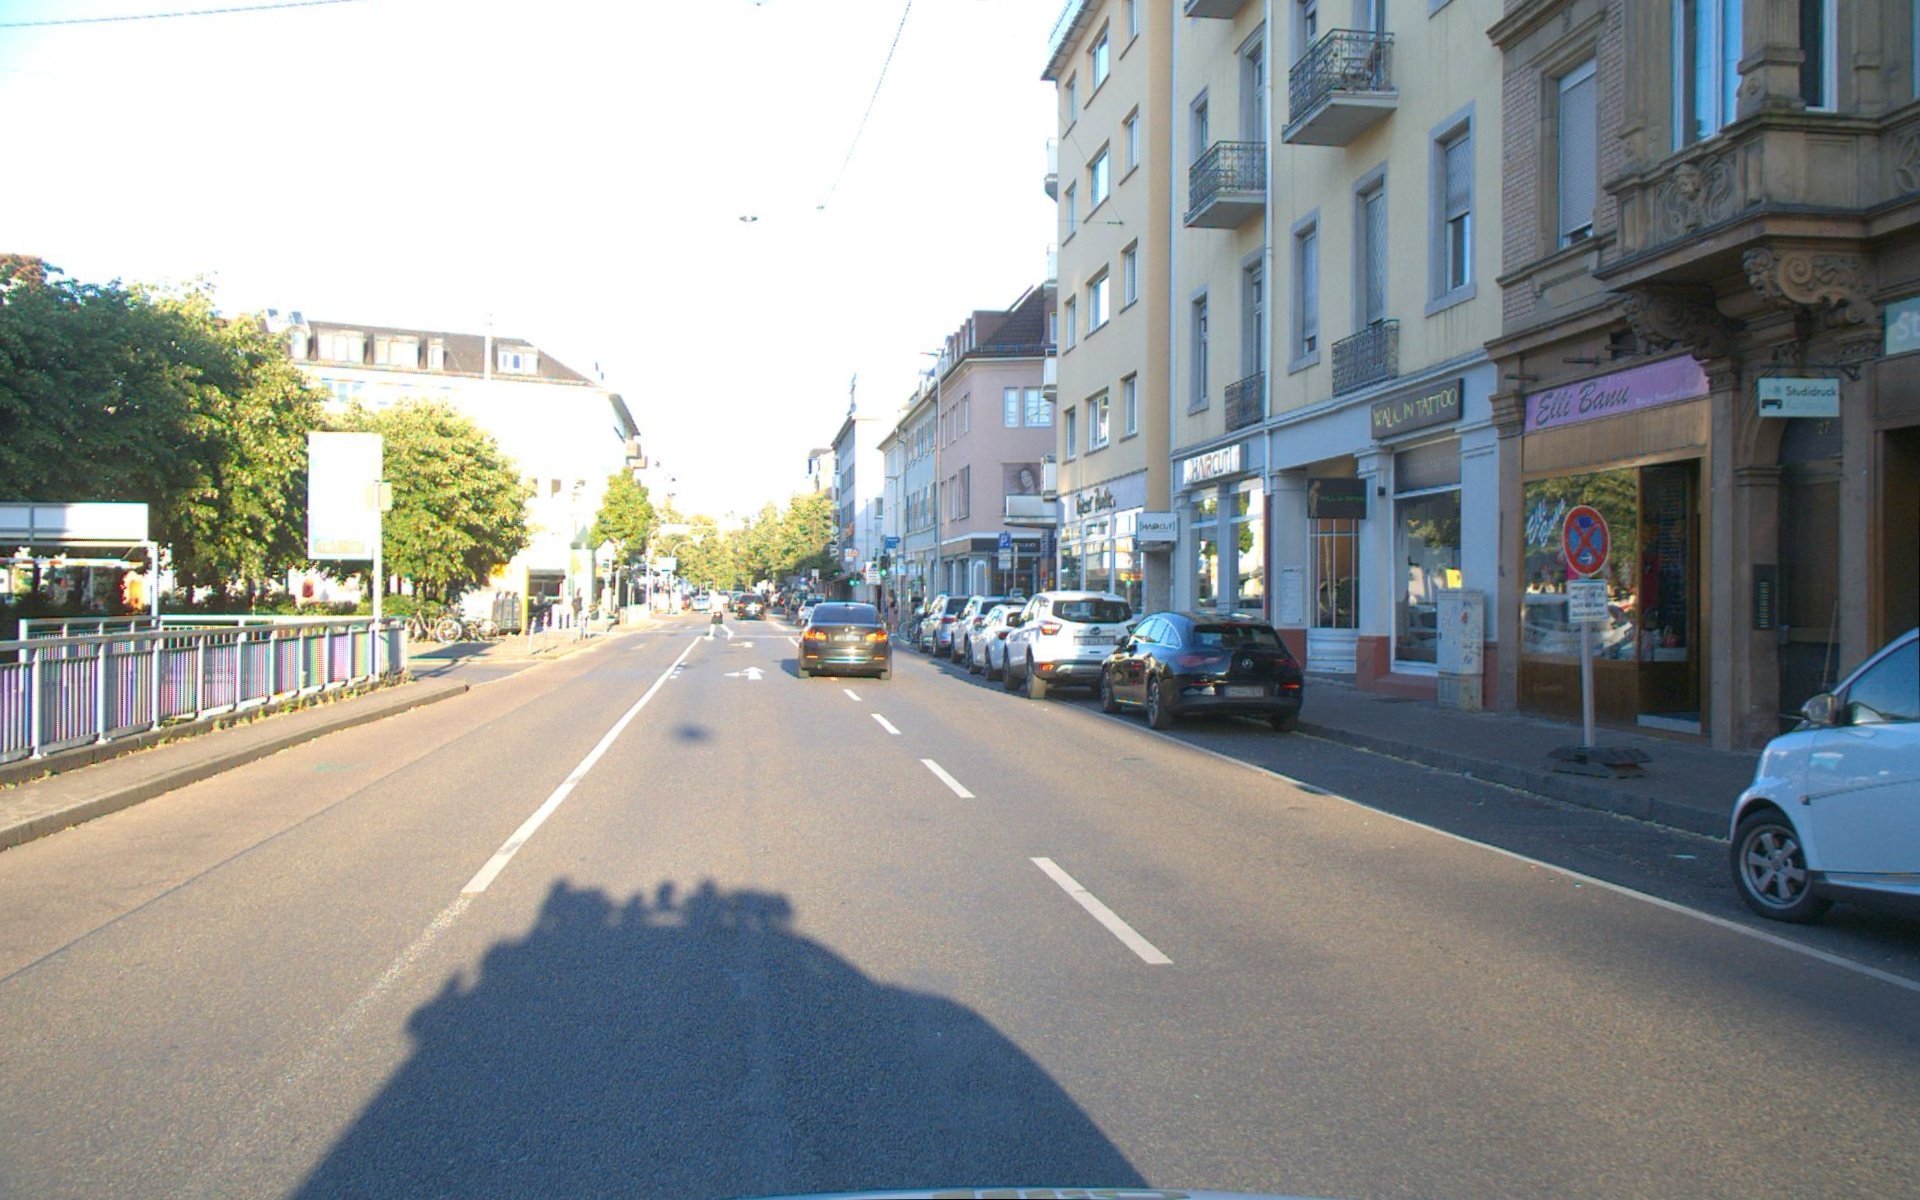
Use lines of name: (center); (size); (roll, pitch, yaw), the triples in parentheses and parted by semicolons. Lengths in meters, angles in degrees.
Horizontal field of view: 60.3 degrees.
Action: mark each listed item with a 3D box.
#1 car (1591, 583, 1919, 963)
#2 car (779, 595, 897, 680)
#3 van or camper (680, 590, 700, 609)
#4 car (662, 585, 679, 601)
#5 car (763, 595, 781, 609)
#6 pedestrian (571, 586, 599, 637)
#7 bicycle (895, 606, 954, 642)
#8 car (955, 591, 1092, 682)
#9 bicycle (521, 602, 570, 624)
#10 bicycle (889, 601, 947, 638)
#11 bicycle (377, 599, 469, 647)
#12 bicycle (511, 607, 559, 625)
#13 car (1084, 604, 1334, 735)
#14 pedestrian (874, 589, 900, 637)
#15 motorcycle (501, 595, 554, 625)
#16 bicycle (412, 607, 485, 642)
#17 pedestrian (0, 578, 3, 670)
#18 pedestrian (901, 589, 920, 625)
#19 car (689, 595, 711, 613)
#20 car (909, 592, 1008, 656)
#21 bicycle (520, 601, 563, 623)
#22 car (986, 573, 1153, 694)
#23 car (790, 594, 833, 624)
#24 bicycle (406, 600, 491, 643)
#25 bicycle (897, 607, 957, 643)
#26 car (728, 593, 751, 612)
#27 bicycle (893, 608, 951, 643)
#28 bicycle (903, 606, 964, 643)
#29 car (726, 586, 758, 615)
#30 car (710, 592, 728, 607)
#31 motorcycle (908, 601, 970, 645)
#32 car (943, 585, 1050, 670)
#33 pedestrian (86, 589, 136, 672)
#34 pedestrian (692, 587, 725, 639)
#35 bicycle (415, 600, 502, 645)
car: (4.923, 0.757, 8.190); (1.668, 1.612, 3.994); (0, 2, -7)
car: (-2.432, 0.670, 32.017); (1.854, 1.518, 4.194); (1, 0, -10)
van or camper: (-36.690, -0.049, 224.873); (2.429, 2.447, 3.989); (1, 0, -12)
car: (-37.374, -0.858, 213.531); (1.793, 2.049, 3.671); (1, 0, -6)
car: (-22.854, 0.188, 200.577); (1.860, 1.624, 3.990); (1, 0, -11)
pedestrian: (-13.130, 0.410, 57.843); (0.868, 1.750, 0.711); (1, 0, -19)
bicycle: (-1.154, 0.767, 53.567); (1.850, 1.132, 0.600); (1, 0, -11)
car: (1.181, 0.665, 33.154); (1.977, 1.570, 4.862); (0, 1, -7)
bicycle: (-22.135, 0.716, 88.397); (2.478, 1.166, 0.699); (0, 0, -11)
bicycle: (-1.384, 0.633, 54.495); (1.850, 1.188, 0.721); (0, 0, -12)
bicycle: (-15.508, 0.656, 47.798); (2.450, 1.306, 0.816); (1, 0, 13)
bicycle: (-21.471, 0.815, 83.662); (2.285, 0.935, 0.699); (0, 0, -11)
car: (3.075, 0.814, 21.552); (1.956, 1.459, 4.842); (1, 0, -8)
pedestrian: (-2.674, 0.466, 60.271); (0.781, 1.750, 0.809); (1, 0, -15)
motorcycle: (-21.051, 0.495, 80.542); (2.368, 1.451, 1.110); (0, 0, -9)
bicycle: (-15.637, 0.756, 50.583); (2.006, 0.988, 0.634); (3, 0, -10)
pedestrian: (-21.093, 0.506, 35.375); (0.785, 1.982, 0.731); (0, 0, 5)
pedestrian: (-2.482, 0.353, 83.291); (0.744, 1.808, 1.045); (1, 0, -12)
car: (-24.449, 0.388, 155.617); (1.858, 1.624, 3.995); (1, 0, -6)
car: (-0.114, 0.622, 44.886); (1.957, 1.641, 4.793); (0, 0, -9)
bicycle: (-22.674, 0.649, 89.544); (2.195, 1.155, 0.810); (0, 0, -11)
car: (1.704, 0.481, 27.399); (1.847, 1.775, 4.651); (0, 1, -8)
car: (-8.562, 0.492, 94.867); (2.290, 1.632, 3.887); (1, 0, -8)
bicycle: (-15.468, 0.642, 50.016); (2.386, 1.259, 0.461); (1, 0, -10)
bicycle: (-1.061, 0.799, 53.036); (1.850, 1.132, 0.520); (1, 0, -11)
car: (-18.857, 0.194, 141.585); (1.848, 1.512, 3.995); (1, 0, -6)
bicycle: (-1.272, 0.844, 55.327); (1.850, 1.132, 0.760); (1, 0, -12)
bicycle: (-0.843, 0.776, 52.228); (1.850, 1.132, 0.591); (1, -2, -11)
car: (-13.803, 0.004, 104.931); (1.956, 1.780, 3.993); (1, 0, -8)
car: (-29.176, -0.083, 200.139); (1.955, 1.780, 3.995); (1, 0, -6)
motorcycle: (-0.635, 0.690, 50.193); (1.779, 1.285, 0.714); (-1, 0, -11)
car: (0.796, 0.594, 38.881); (1.833, 1.792, 4.401); (0, 1, -8)
pedestrian: (-20.383, 0.725, 39.709); (0.785, 1.982, 0.731); (0, 0, 5)
pedestrian: (-8.547, 0.428, 56.200); (0.860, 1.750, 0.751); (1, 0, -33)
bicycle: (-14.961, 0.665, 49.401); (2.387, 1.259, 0.516); (2, 0, -10)
